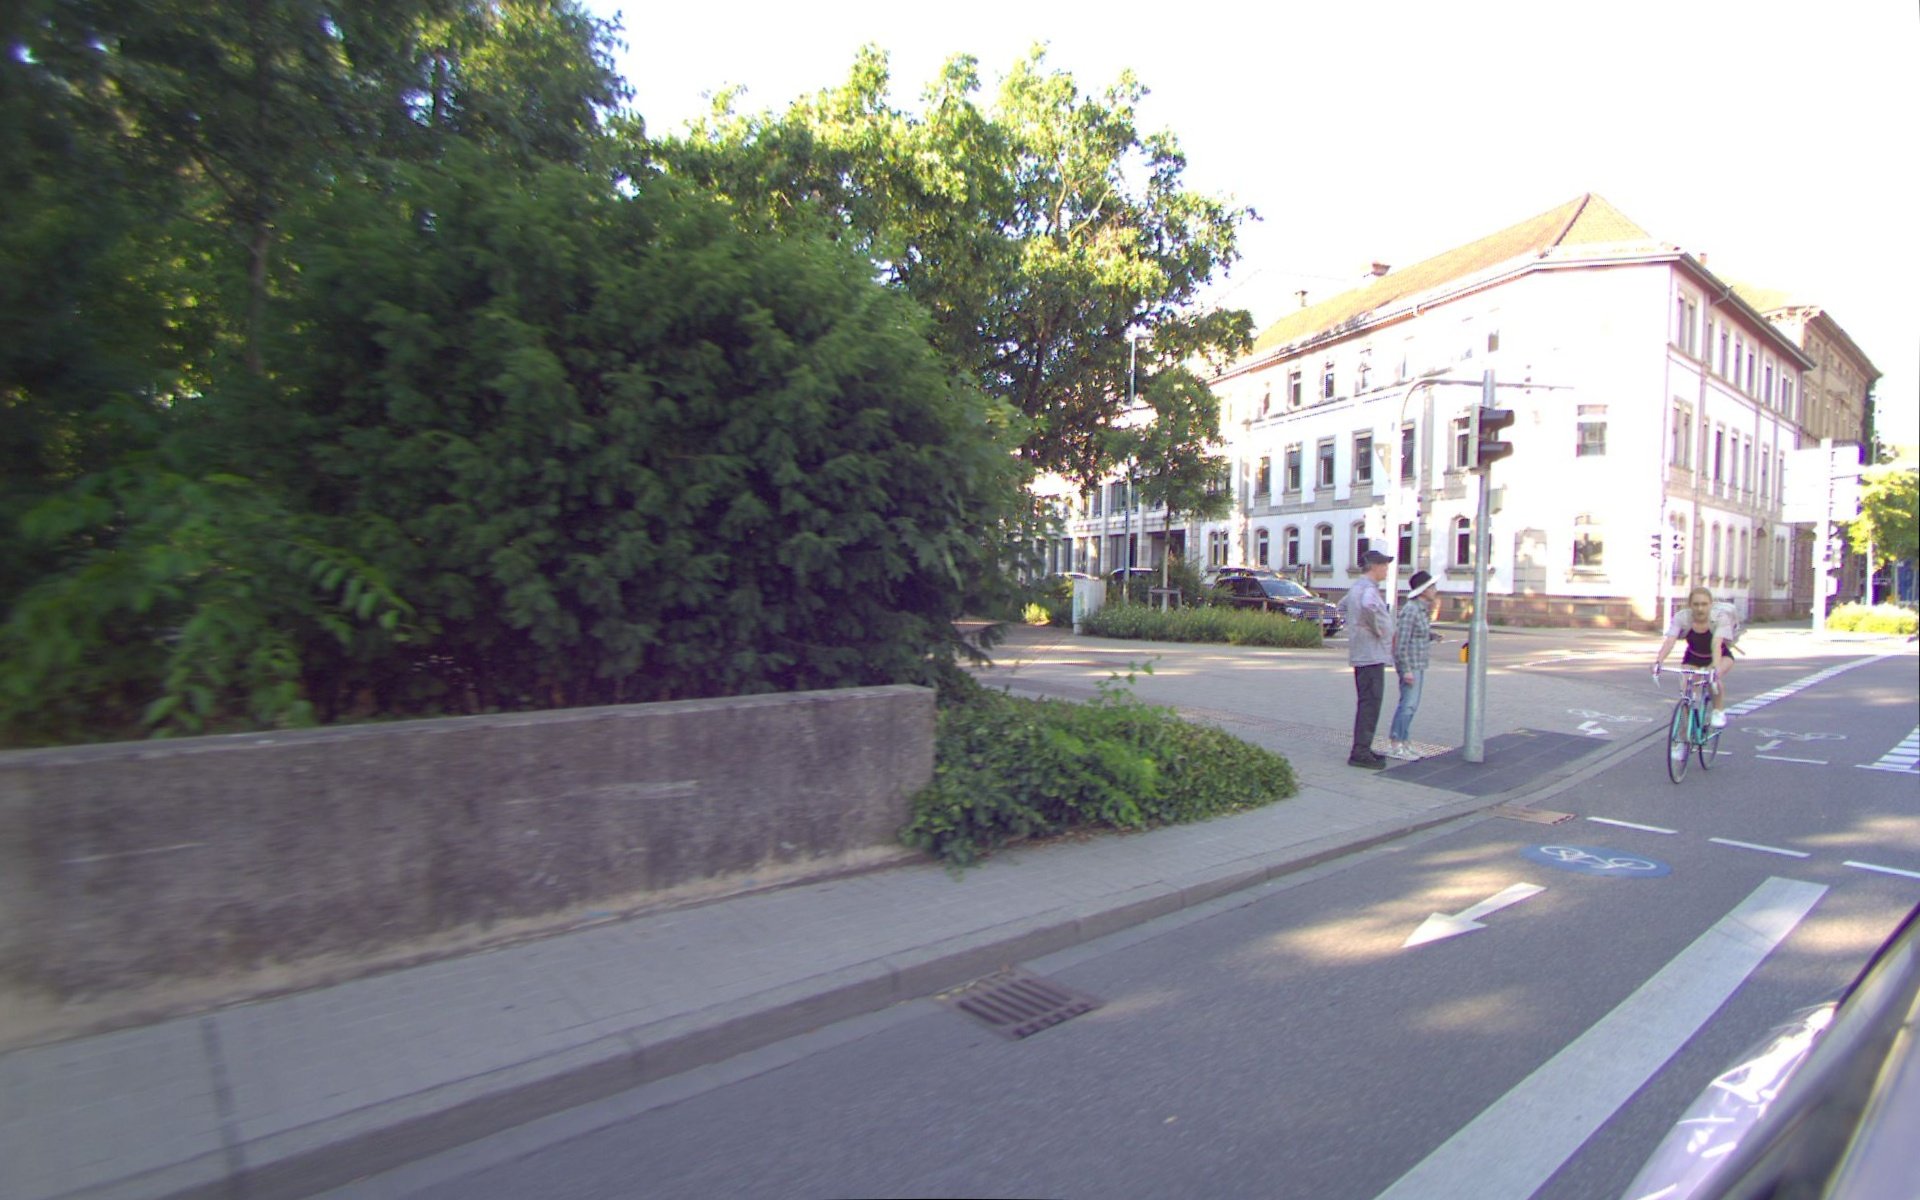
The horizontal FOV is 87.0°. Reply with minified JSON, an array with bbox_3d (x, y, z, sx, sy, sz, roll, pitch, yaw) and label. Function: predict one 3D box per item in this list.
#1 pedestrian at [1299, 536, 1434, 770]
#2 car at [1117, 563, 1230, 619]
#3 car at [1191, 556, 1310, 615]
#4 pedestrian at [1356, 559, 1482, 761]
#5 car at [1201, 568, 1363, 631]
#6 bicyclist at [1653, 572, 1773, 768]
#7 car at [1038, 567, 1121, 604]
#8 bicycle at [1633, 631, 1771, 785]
[{"bbox_3d":[3.386,0.396,8.523,0.847,1.824,0.903,3,3,15],"label":"pedestrian"},{"bbox_3d":[6.830,-0.357,32.853,1.863,1.673,4.548,0,2,-12],"label":"car"},{"bbox_3d":[9.929,-0.553,34.929,1.907,1.827,4.258,3,1,-16],"label":"car"},{"bbox_3d":[4.070,0.489,8.972,0.765,1.656,0.759,5,3,40],"label":"pedestrian"},{"bbox_3d":[8.434,-0.082,27.000,1.863,1.492,4.613,0,2,-16],"label":"car"},{"bbox_3d":[6.264,0.538,8.407,1.062,1.509,0.553,0,1,-41],"label":"bicyclist"},{"bbox_3d":[4.819,-0.626,41.500,1.863,1.399,4.245,0,2,-16],"label":"car"},{"bbox_3d":[6.209,0.841,8.432,1.810,1.111,0.521,0,-2,-41],"label":"bicycle"}]
